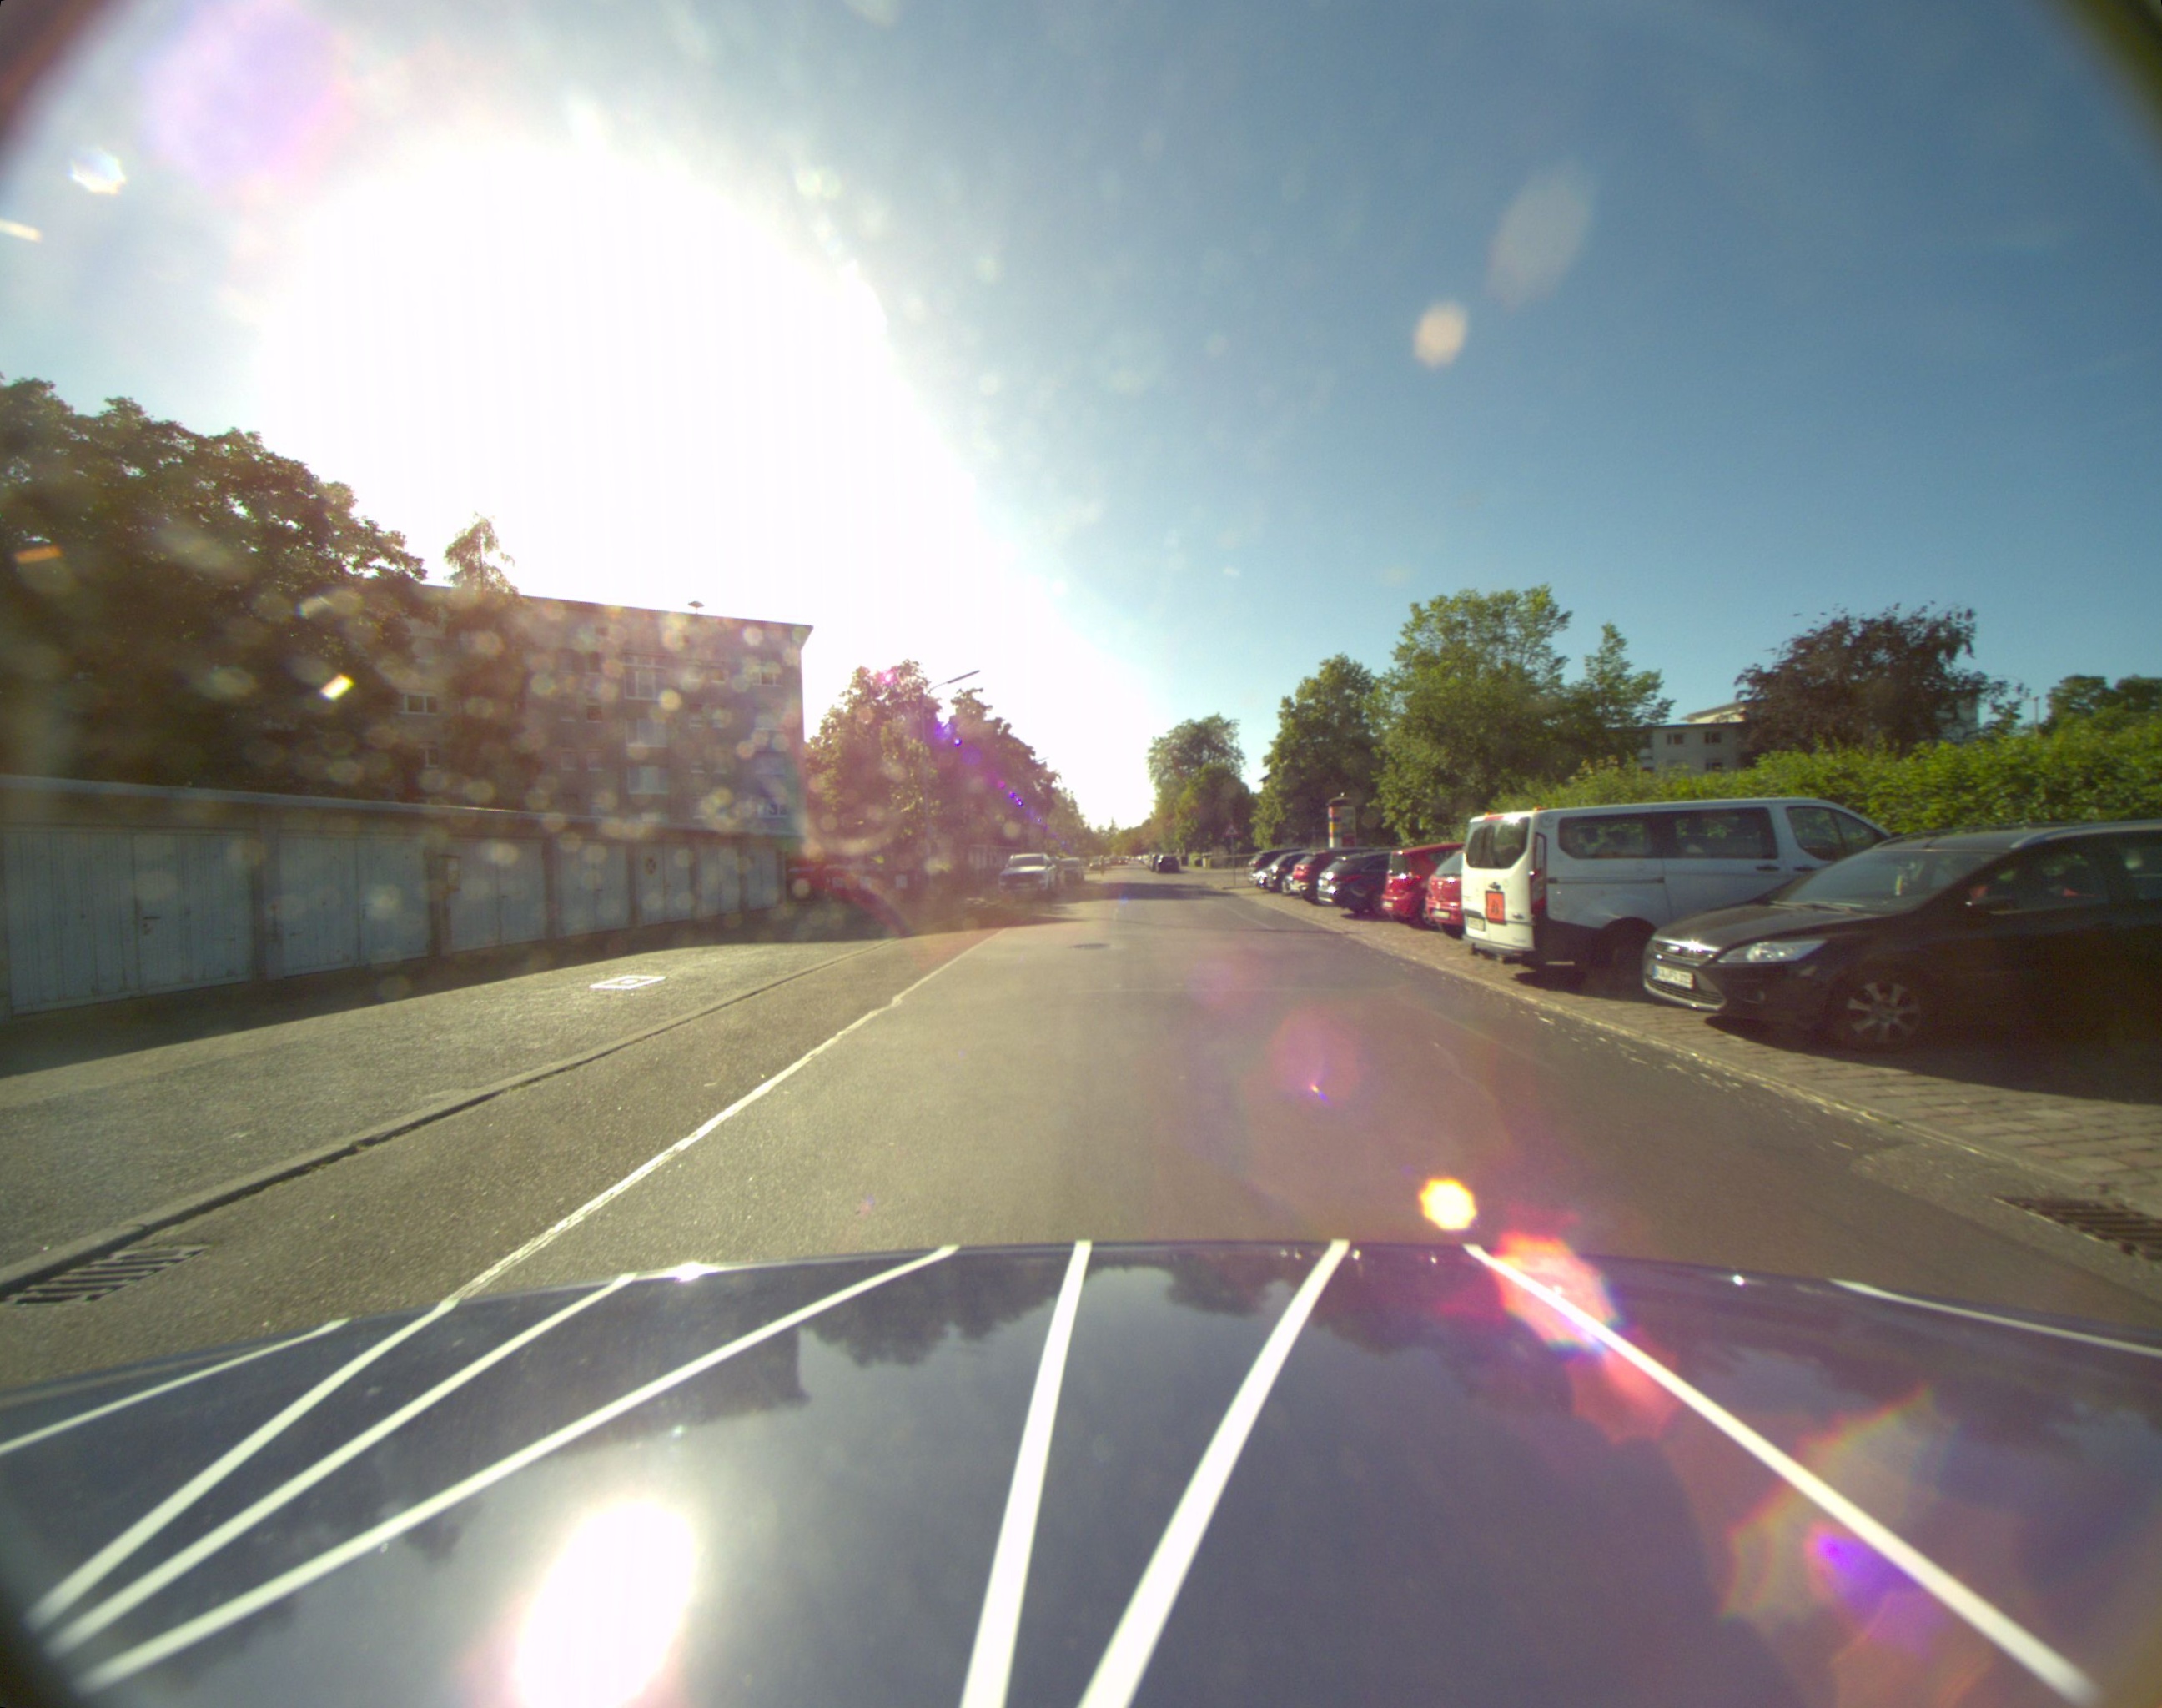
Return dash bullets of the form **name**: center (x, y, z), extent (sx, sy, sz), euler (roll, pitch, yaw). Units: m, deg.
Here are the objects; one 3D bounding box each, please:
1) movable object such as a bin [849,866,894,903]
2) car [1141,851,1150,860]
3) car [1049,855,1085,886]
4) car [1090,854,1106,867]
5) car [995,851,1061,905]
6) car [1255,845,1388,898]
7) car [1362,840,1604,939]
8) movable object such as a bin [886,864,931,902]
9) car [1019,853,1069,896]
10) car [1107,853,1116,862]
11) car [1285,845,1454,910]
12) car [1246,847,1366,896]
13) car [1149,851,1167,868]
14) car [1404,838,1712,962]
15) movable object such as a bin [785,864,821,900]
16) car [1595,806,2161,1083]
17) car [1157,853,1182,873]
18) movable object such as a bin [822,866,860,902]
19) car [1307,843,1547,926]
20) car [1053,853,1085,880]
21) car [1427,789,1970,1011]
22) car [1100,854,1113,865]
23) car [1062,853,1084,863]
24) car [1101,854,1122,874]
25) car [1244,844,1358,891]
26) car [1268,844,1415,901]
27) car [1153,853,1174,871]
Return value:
- **movable object such as a bin**: center (-8.105, 1.157, 29.469), extent (1.252, 1.339, 1.054), euler (-2, 2, 15)
- **car**: center (12.068, 0.245, 142.209), extent (1.632, 1.619, 3.557), euler (0, 0, 3)
- **car**: center (-0.775, 0.946, 45.583), extent (1.808, 1.584, 4.024), euler (-4, 0, 3)
- **car**: center (2.021, 0.770, 91.327), extent (1.732, 1.462, 3.813), euler (-3, 0, 3)
- **car**: center (-1.998, 0.889, 30.298), extent (1.911, 1.829, 5.276), euler (-4, -1, 2)
- **car**: center (8.451, 0.591, 26.981), extent (4.102, 1.504, 1.812), euler (-4, 1, 1)
- **car**: center (7.604, 0.647, 14.683), extent (3.610, 1.558, 1.882), euler (-4, 0, 3)
- **movable object such as a bin**: center (-6.546, 1.105, 28.885), extent (1.252, 1.339, 1.054), euler (-2, 2, 15)
- **car**: center (-1.680, 0.956, 36.048), extent (1.838, 1.780, 4.556), euler (-4, -1, 2)
- **car**: center (6.013, 0.681, 149.291), extent (1.732, 1.586, 3.813), euler (-3, 0, 3)
- **car**: center (7.973, 0.643, 21.316), extent (3.996, 1.470, 1.791), euler (-4, 0, 3)
- **car**: center (8.511, 0.628, 28.995), extent (3.996, 1.524, 1.832), euler (-4, 1, 1)
- **car**: center (8.924, 0.619, 87.970), extent (1.909, 1.930, 4.512), euler (0, 0, 4)
- **car**: center (7.354, 0.683, 12.007), extent (3.611, 1.558, 1.852), euler (-4, 0, 1)
- **movable object such as a bin**: center (-11.622, 1.167, 31.737), extent (1.078, 1.409, 0.833), euler (-2, 2, 9)
- **car**: center (6.836, 0.602, 5.977), extent (4.159, 1.696, 1.884), euler (-4, 1, 8)
- **car**: center (7.434, 0.714, 64.259), extent (1.784, 1.564, 4.425), euler (-2, 0, 3)
- **movable object such as a bin**: center (-9.450, 1.174, 29.921), extent (1.077, 1.339, 0.865), euler (-2, 2, 15)
- **car**: center (7.672, 0.662, 17.196), extent (4.554, 1.470, 1.748), euler (-4, 0, 3)
- **car**: center (-0.743, 0.775, 49.954), extent (1.772, 1.601, 4.372), euler (-3, 1, 2)
- **car**: center (6.739, 0.465, 8.748), extent (4.489, 1.965, 2.000), euler (-4, 1, 2)
- **car**: center (3.786, 0.799, 113.216), extent (1.732, 1.586, 3.813), euler (-3, 0, 3)
- **car**: center (-1.404, 0.656, 126.999), extent (3.504, 1.499, 1.602), euler (-4, 1, -2)
- **car**: center (2.698, 0.827, 66.071), extent (1.732, 1.586, 3.813), euler (-3, 0, 3)
- **car**: center (9.223, 0.541, 32.092), extent (4.197, 1.646, 1.846), euler (-4, 1, 1)
- **car**: center (8.332, 0.567, 24.576), extent (4.028, 1.504, 1.906), euler (-4, 1, 1)
- **car**: center (8.025, 0.764, 74.065), extent (1.817, 1.672, 3.649), euler (0, 0, 4)
